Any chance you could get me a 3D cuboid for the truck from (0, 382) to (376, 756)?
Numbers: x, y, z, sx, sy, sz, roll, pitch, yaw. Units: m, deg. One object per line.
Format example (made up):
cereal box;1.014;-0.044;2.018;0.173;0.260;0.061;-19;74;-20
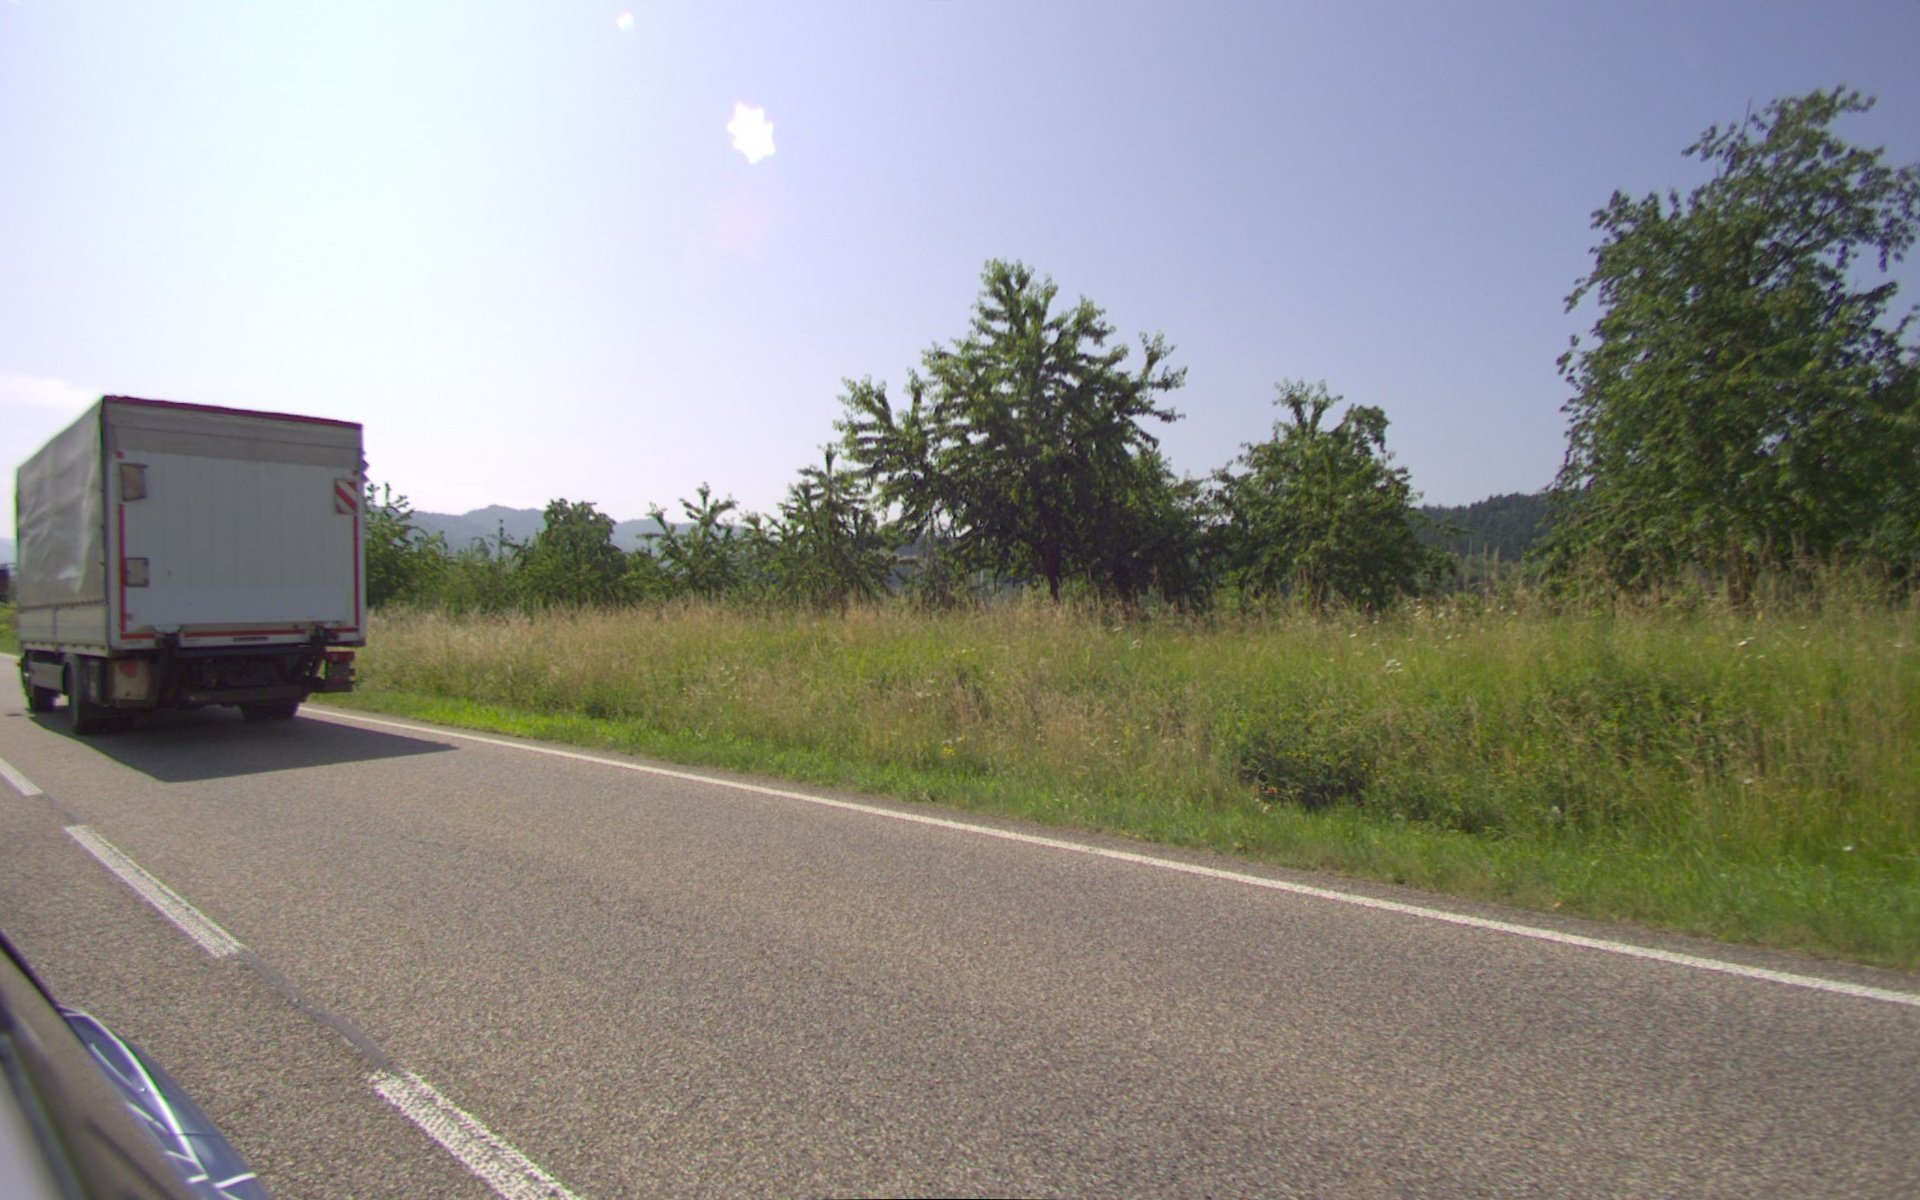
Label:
truck;-11.911;-0.249;14.839;10.203;3.868;2.637;-1;-1;41
